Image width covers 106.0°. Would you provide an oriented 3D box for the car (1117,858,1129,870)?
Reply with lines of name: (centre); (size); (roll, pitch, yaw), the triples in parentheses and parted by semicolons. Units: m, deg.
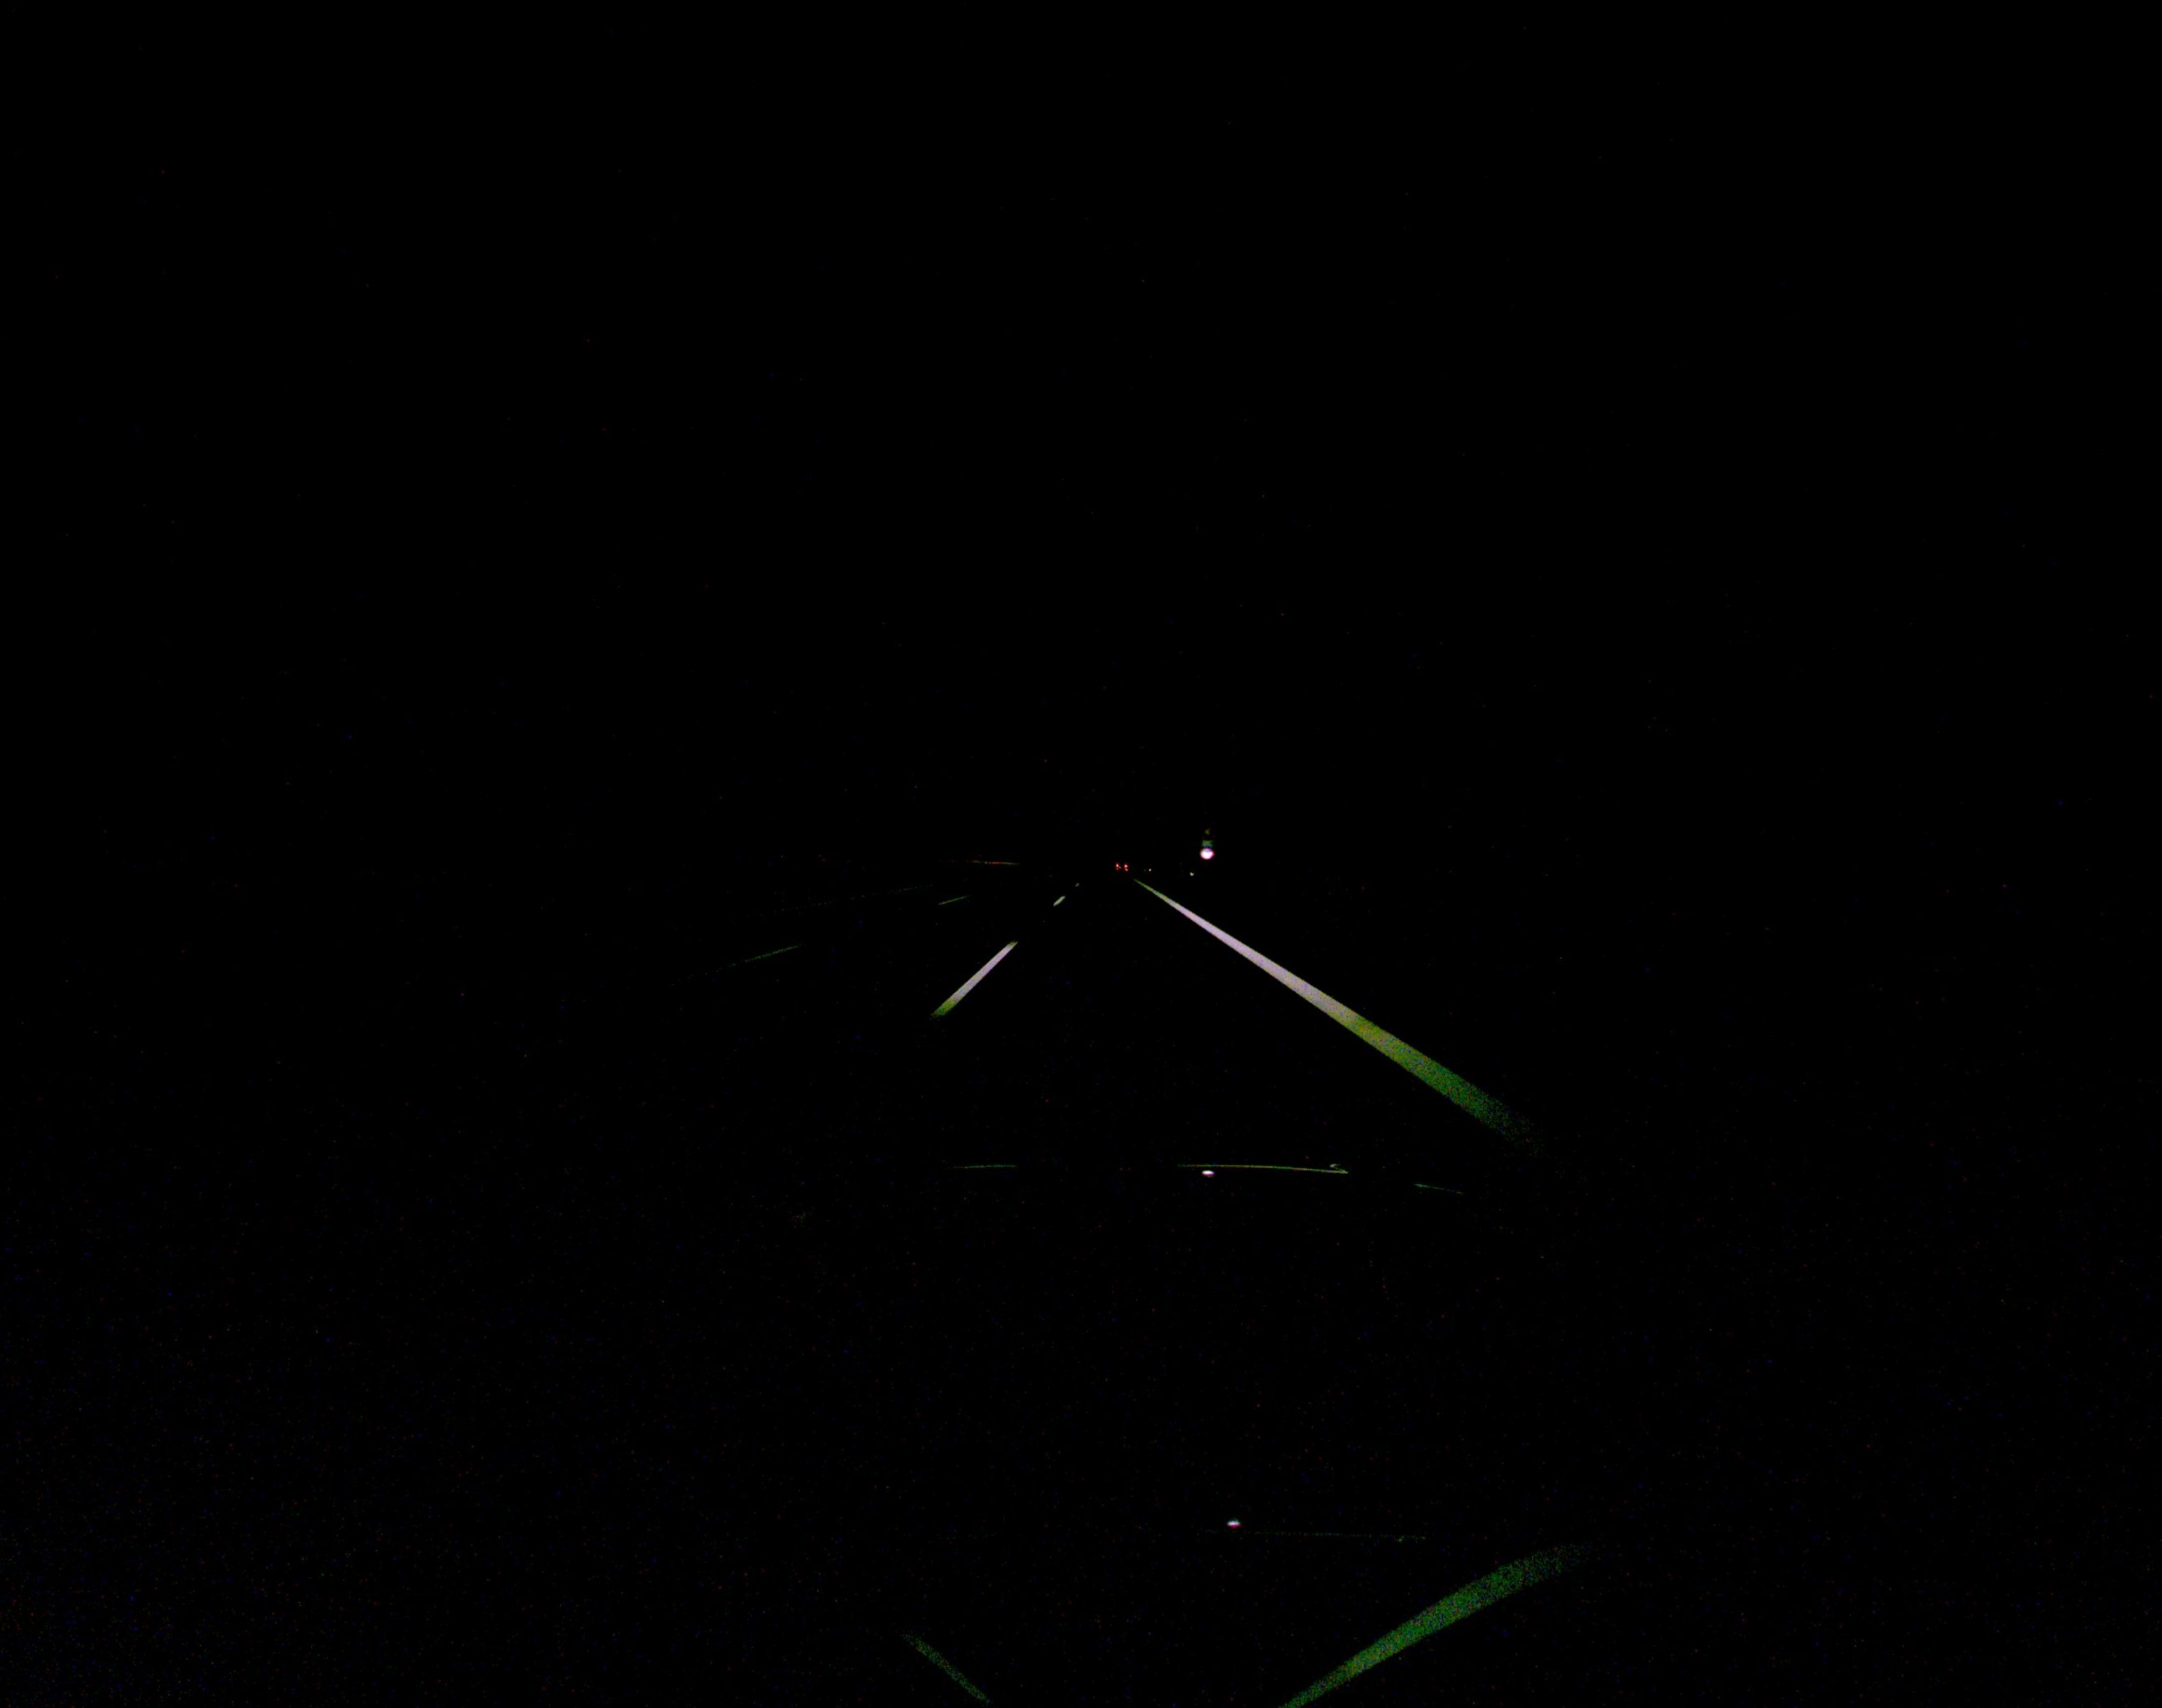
car: (8.999, 2.106, 173.606); (2.517, 2.553, 6.057); (0, 0, 4)
